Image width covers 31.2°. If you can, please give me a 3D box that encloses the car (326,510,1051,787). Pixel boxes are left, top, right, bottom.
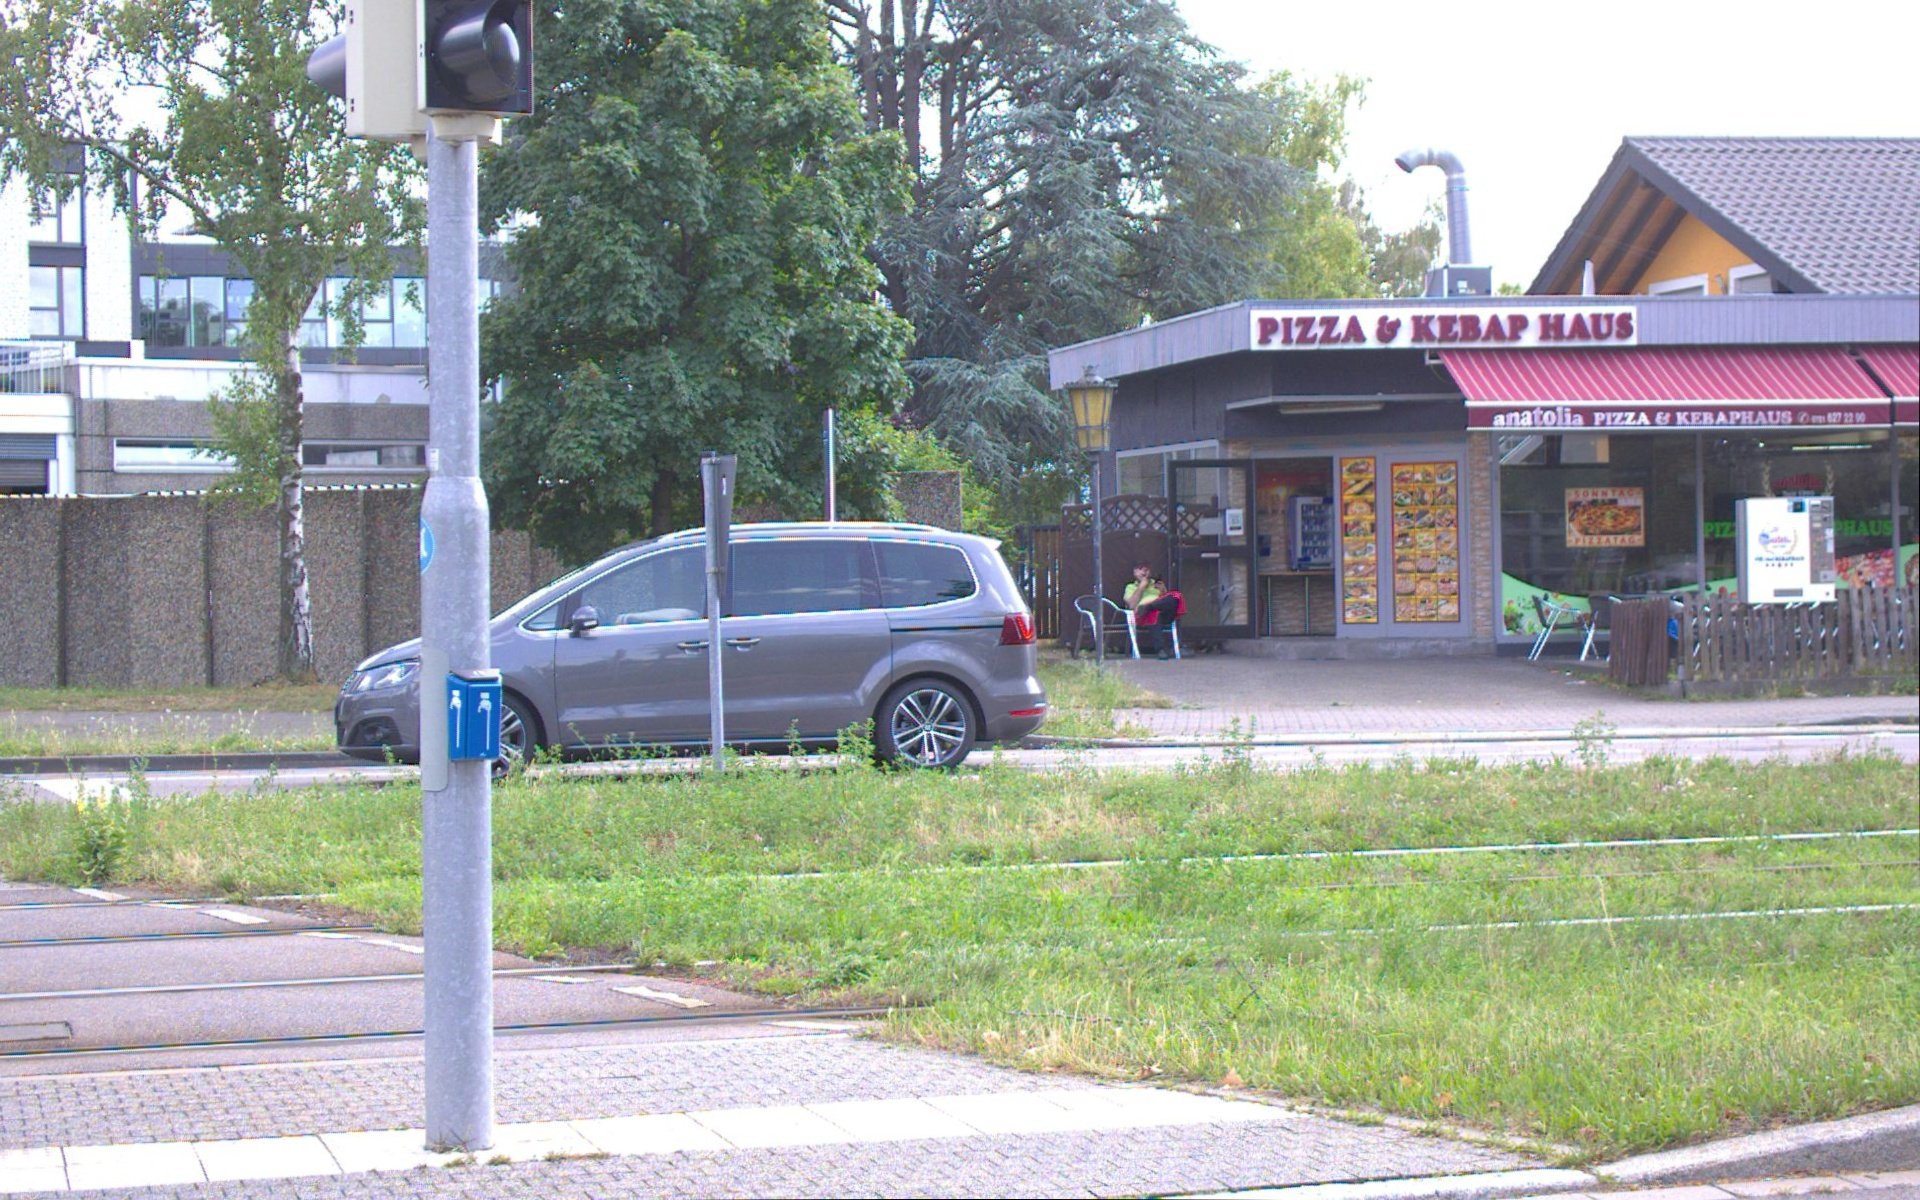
[{"bbox_3d":[-1.912,0.286,23.480,4.724,1.716,2.001,-1,1,-11],"label":"car"}]

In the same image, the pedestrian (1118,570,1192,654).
[{"bbox_3d":[2.223,0.133,39.308,0.725,0.926,0.777,0,2,-6],"label":"pedestrian"}]
